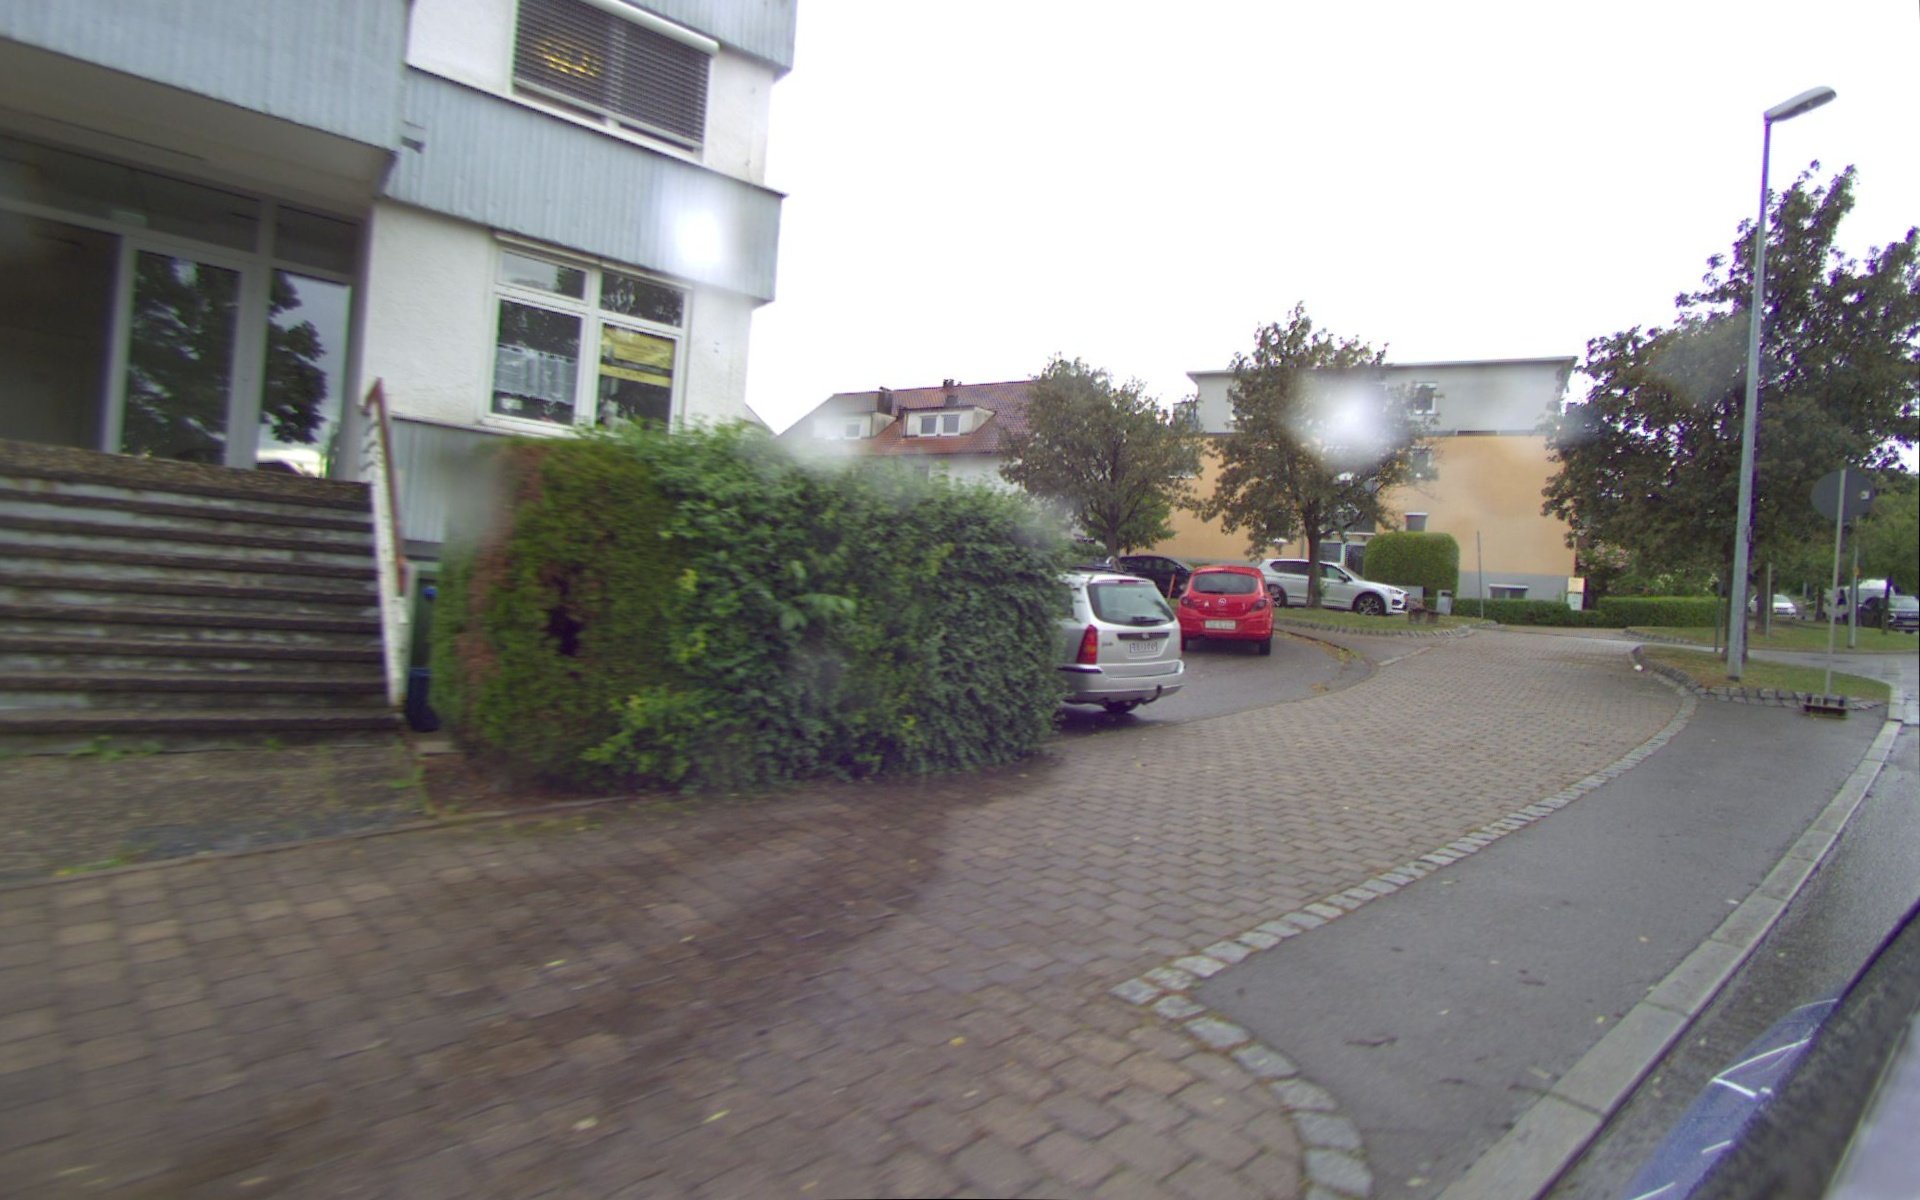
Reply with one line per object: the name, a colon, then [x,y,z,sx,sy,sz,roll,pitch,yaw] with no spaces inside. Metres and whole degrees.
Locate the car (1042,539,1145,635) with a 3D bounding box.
car: [3.137,-0.409,23.016,1.831,1.602,4.819,2,7,13]

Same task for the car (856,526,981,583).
car: [-1.607,-1.749,38.573,4.391,1.953,1.908,3,0,33]

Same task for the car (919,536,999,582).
car: [-0.021,-1.961,48.865,1.986,2.038,3.954,5,3,32]

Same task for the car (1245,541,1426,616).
car: [11.067,-0.685,29.962,4.679,1.836,1.926,5,3,32]

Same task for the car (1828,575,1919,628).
car: [44.461,0.022,49.349,2.036,2.360,5.353,3,2,28]

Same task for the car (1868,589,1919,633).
car: [41.425,0.468,44.221,1.804,1.748,4.598,3,3,33]

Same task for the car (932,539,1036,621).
car: [0.701,-0.592,25.479,1.830,1.819,4.448,0,4,12]

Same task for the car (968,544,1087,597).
car: [2.378,-1.057,35.813,3.802,1.689,1.814,3,2,32]

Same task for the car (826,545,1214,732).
car: [0.446,0.242,11.163,1.825,1.604,4.324,0,3,-39]

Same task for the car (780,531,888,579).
car: [-5.122,-1.840,40.933,3.992,1.754,1.932,3,0,33]

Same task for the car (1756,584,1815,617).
car: [51.098,0.017,62.722,1.806,1.807,3.789,3,3,24]

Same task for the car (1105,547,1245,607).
car: [6.957,-0.750,32.793,3.987,1.754,1.934,3,0,31]

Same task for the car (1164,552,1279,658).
car: [5.044,-0.030,19.146,1.834,1.603,4.305,2,5,18]
